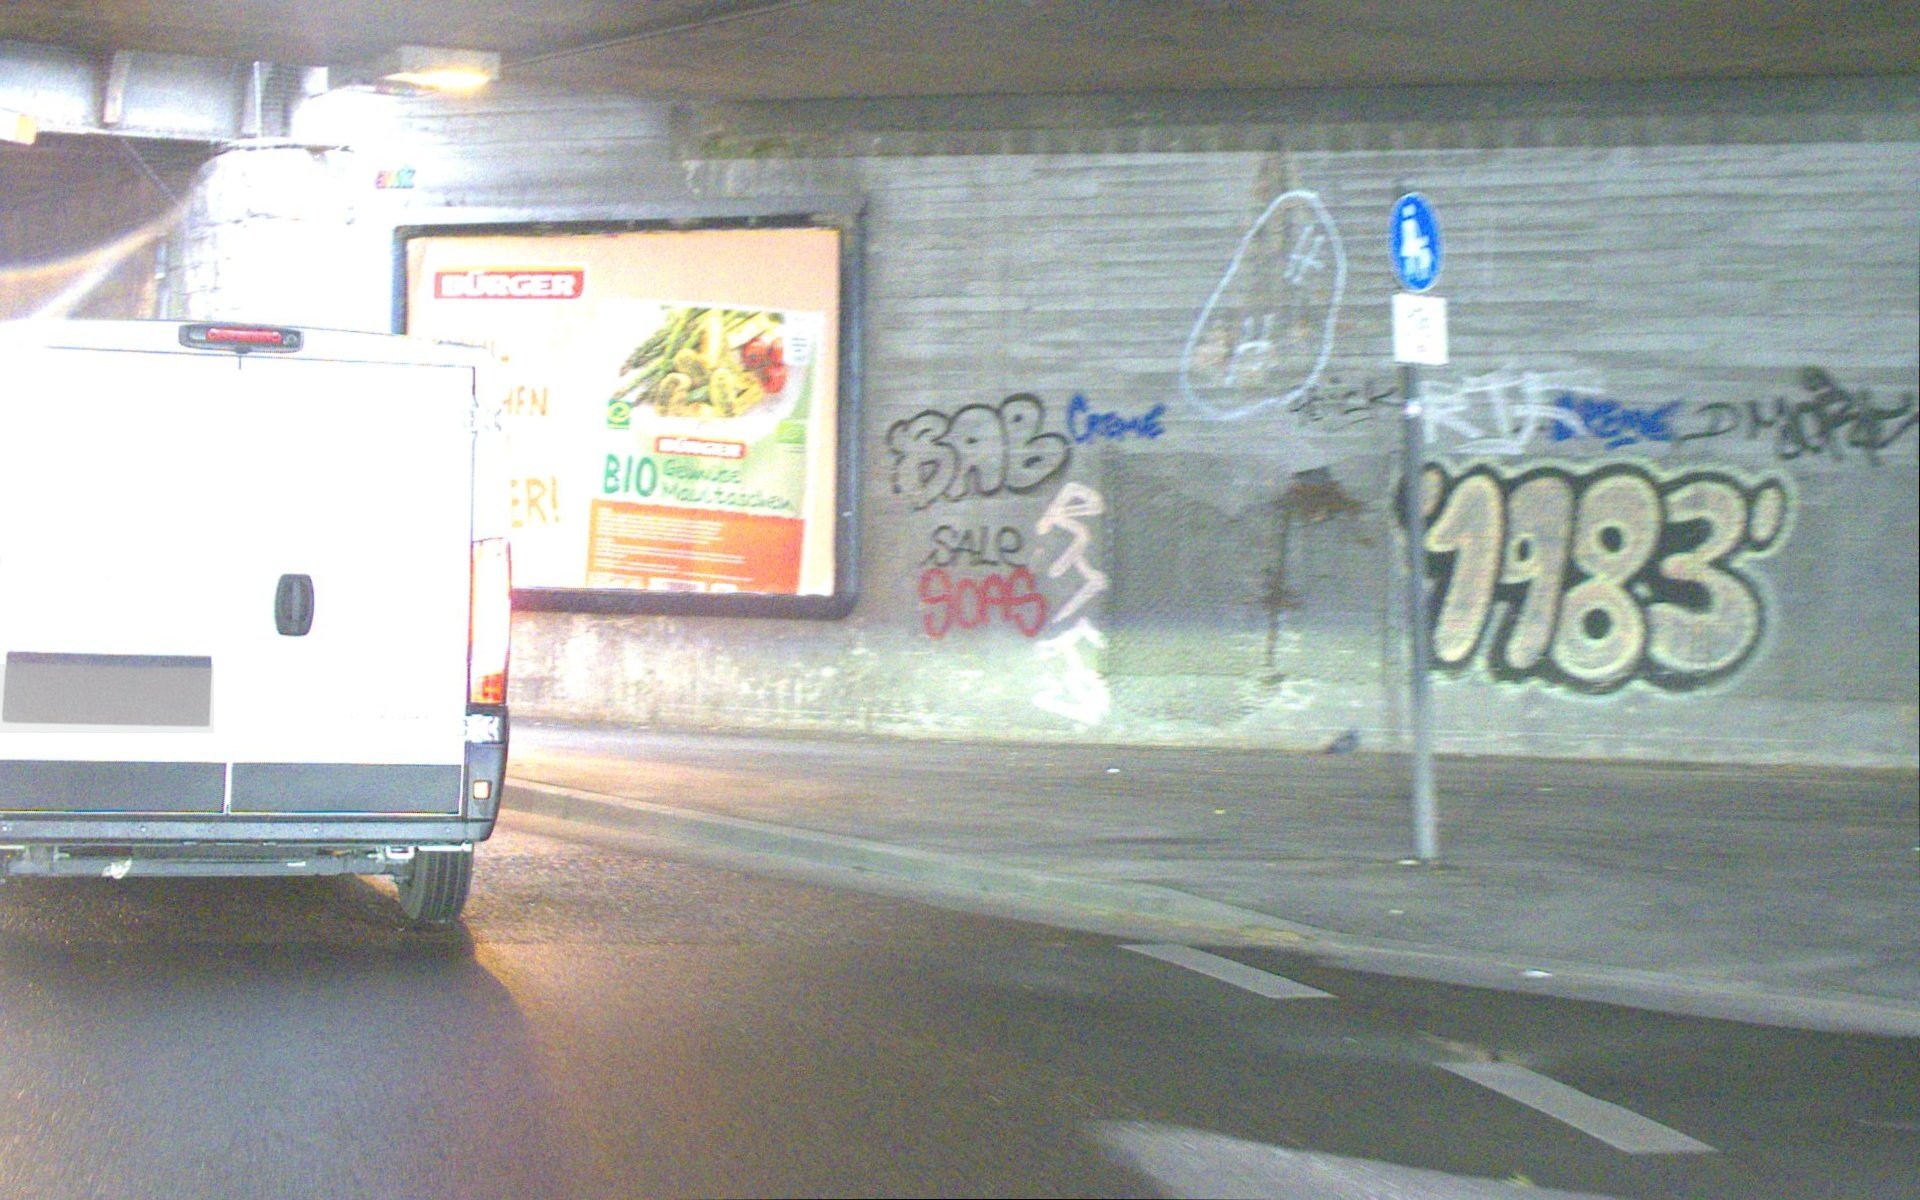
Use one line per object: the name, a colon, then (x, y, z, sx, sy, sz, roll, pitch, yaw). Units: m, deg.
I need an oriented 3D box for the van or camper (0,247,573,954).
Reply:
van or camper: (-3.374, 0.002, 14.233, 2.697, 2.408, 4.904, 0, 0, -16)
